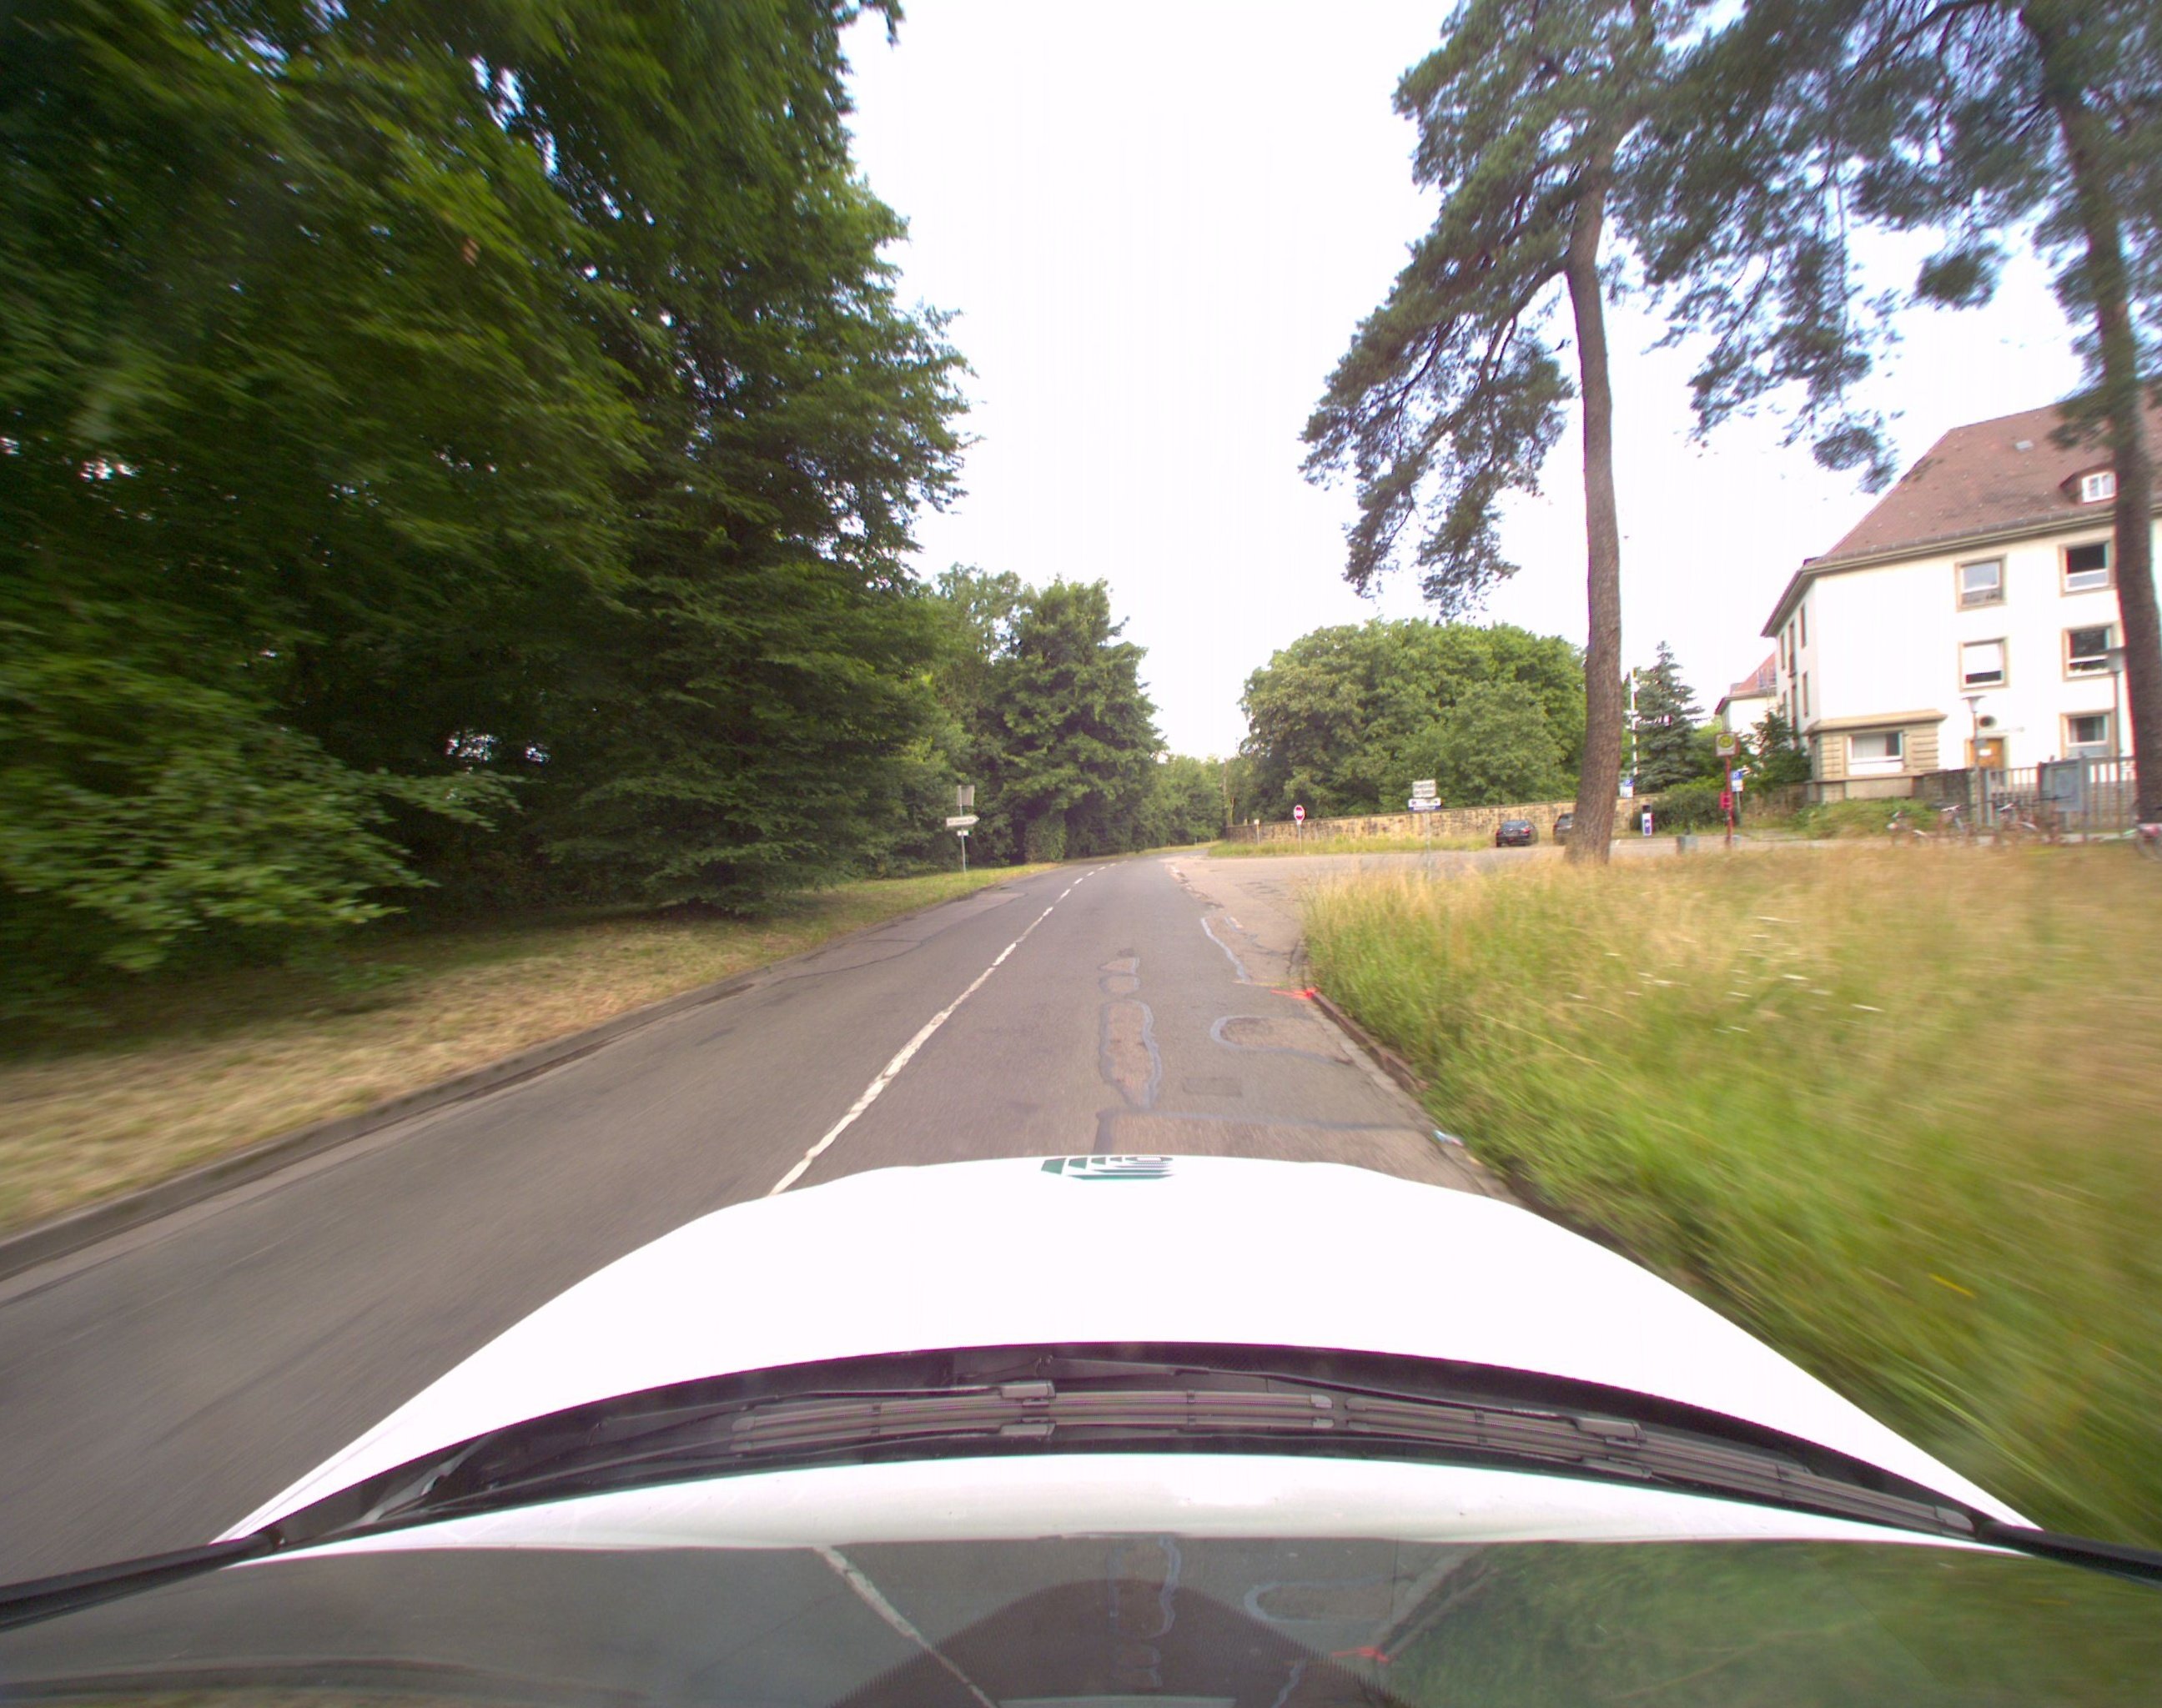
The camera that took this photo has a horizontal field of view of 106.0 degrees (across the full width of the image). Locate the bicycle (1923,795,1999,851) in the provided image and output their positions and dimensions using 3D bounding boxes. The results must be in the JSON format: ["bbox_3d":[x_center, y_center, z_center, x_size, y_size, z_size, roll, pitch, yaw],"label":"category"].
[{"bbox_3d":[21.085,-0.749,19.552,0.627,1.240,2.189,-3,0,32],"label":"bicycle"}]

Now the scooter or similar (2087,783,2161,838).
[{"bbox_3d":[23.475,-0.975,18.207,1.241,1.150,0.439,-4,1,8],"label":"scooter or similar"}]

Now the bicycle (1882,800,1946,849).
[{"bbox_3d":[19.531,-0.707,19.132,0.731,1.084,1.694,-1,2,35],"label":"bicycle"}]

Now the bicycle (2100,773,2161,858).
[{"bbox_3d":[18.877,-0.709,13.884,1.777,1.417,0.592,-4,0,21],"label":"bicycle"}]

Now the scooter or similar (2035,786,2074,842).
[{"bbox_3d":[22.749,-0.940,19.038,0.381,1.245,1.292,-3,0,43],"label":"scooter or similar"}]

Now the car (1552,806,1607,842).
[{"bbox_3d":[25.378,-1.550,41.411,1.875,1.546,4.027,-3,2,38],"label":"car"}]

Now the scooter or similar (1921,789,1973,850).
[{"bbox_3d":[17.968,-0.701,16.918,0.433,1.228,1.097,-1,0,31],"label":"scooter or similar"}]

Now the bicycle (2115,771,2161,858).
[{"bbox_3d":[18.557,-0.711,13.323,1.959,1.417,0.581,-4,0,20],"label":"bicycle"}]

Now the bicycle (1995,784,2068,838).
[{"bbox_3d":[24.133,-1.060,20.714,0.664,1.277,1.751,-3,-1,32],"label":"bicycle"}]

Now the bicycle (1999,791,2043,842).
[{"bbox_3d":[22.321,-0.898,19.362,1.620,1.162,0.615,-3,2,-43],"label":"bicycle"}]

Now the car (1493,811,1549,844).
[{"bbox_3d":[23.479,-1.447,43.357,1.855,1.441,4.027,-3,2,39],"label":"car"}]

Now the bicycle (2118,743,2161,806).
[{"bbox_3d":[25.414,-1.868,19.398,0.509,1.417,1.919,-1,1,41],"label":"bicycle"}]
